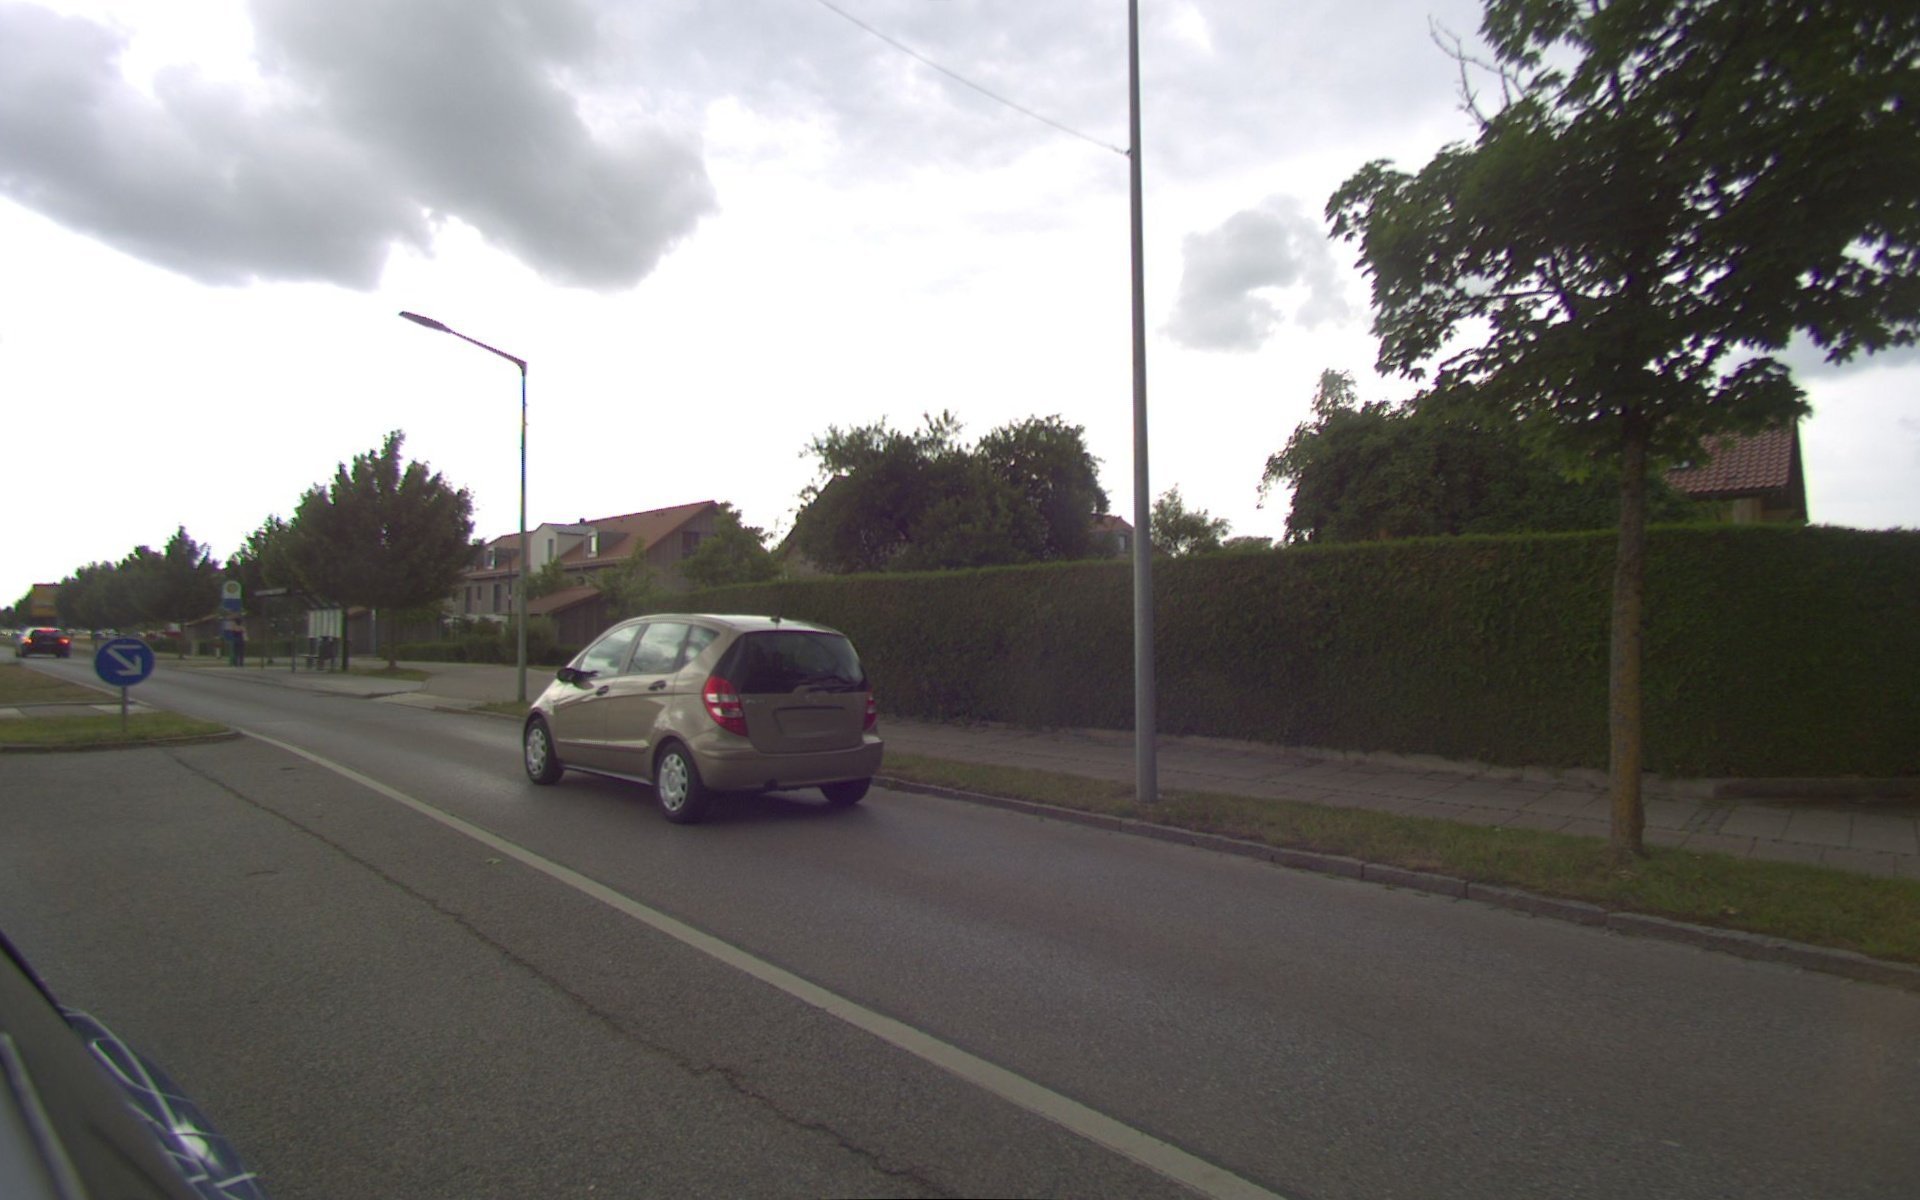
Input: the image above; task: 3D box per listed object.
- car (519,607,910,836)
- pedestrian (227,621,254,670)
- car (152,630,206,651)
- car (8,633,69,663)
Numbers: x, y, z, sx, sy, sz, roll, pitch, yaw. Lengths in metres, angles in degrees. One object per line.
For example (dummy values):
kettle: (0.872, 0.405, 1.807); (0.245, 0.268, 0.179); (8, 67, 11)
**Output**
car: (-2.234, 0.904, 8.709); (1.687, 1.544, 3.509); (4, -4, -44)
pedestrian: (-24.257, 1.531, 34.120); (0.812, 1.649, 0.582); (-2, -2, 42)
car: (-85.114, 4.384, 110.330); (4.504, 2.029, 2.002); (-1, 0, -43)
car: (-46.151, 2.370, 50.646); (4.496, 1.465, 1.899); (-2, -3, 43)
